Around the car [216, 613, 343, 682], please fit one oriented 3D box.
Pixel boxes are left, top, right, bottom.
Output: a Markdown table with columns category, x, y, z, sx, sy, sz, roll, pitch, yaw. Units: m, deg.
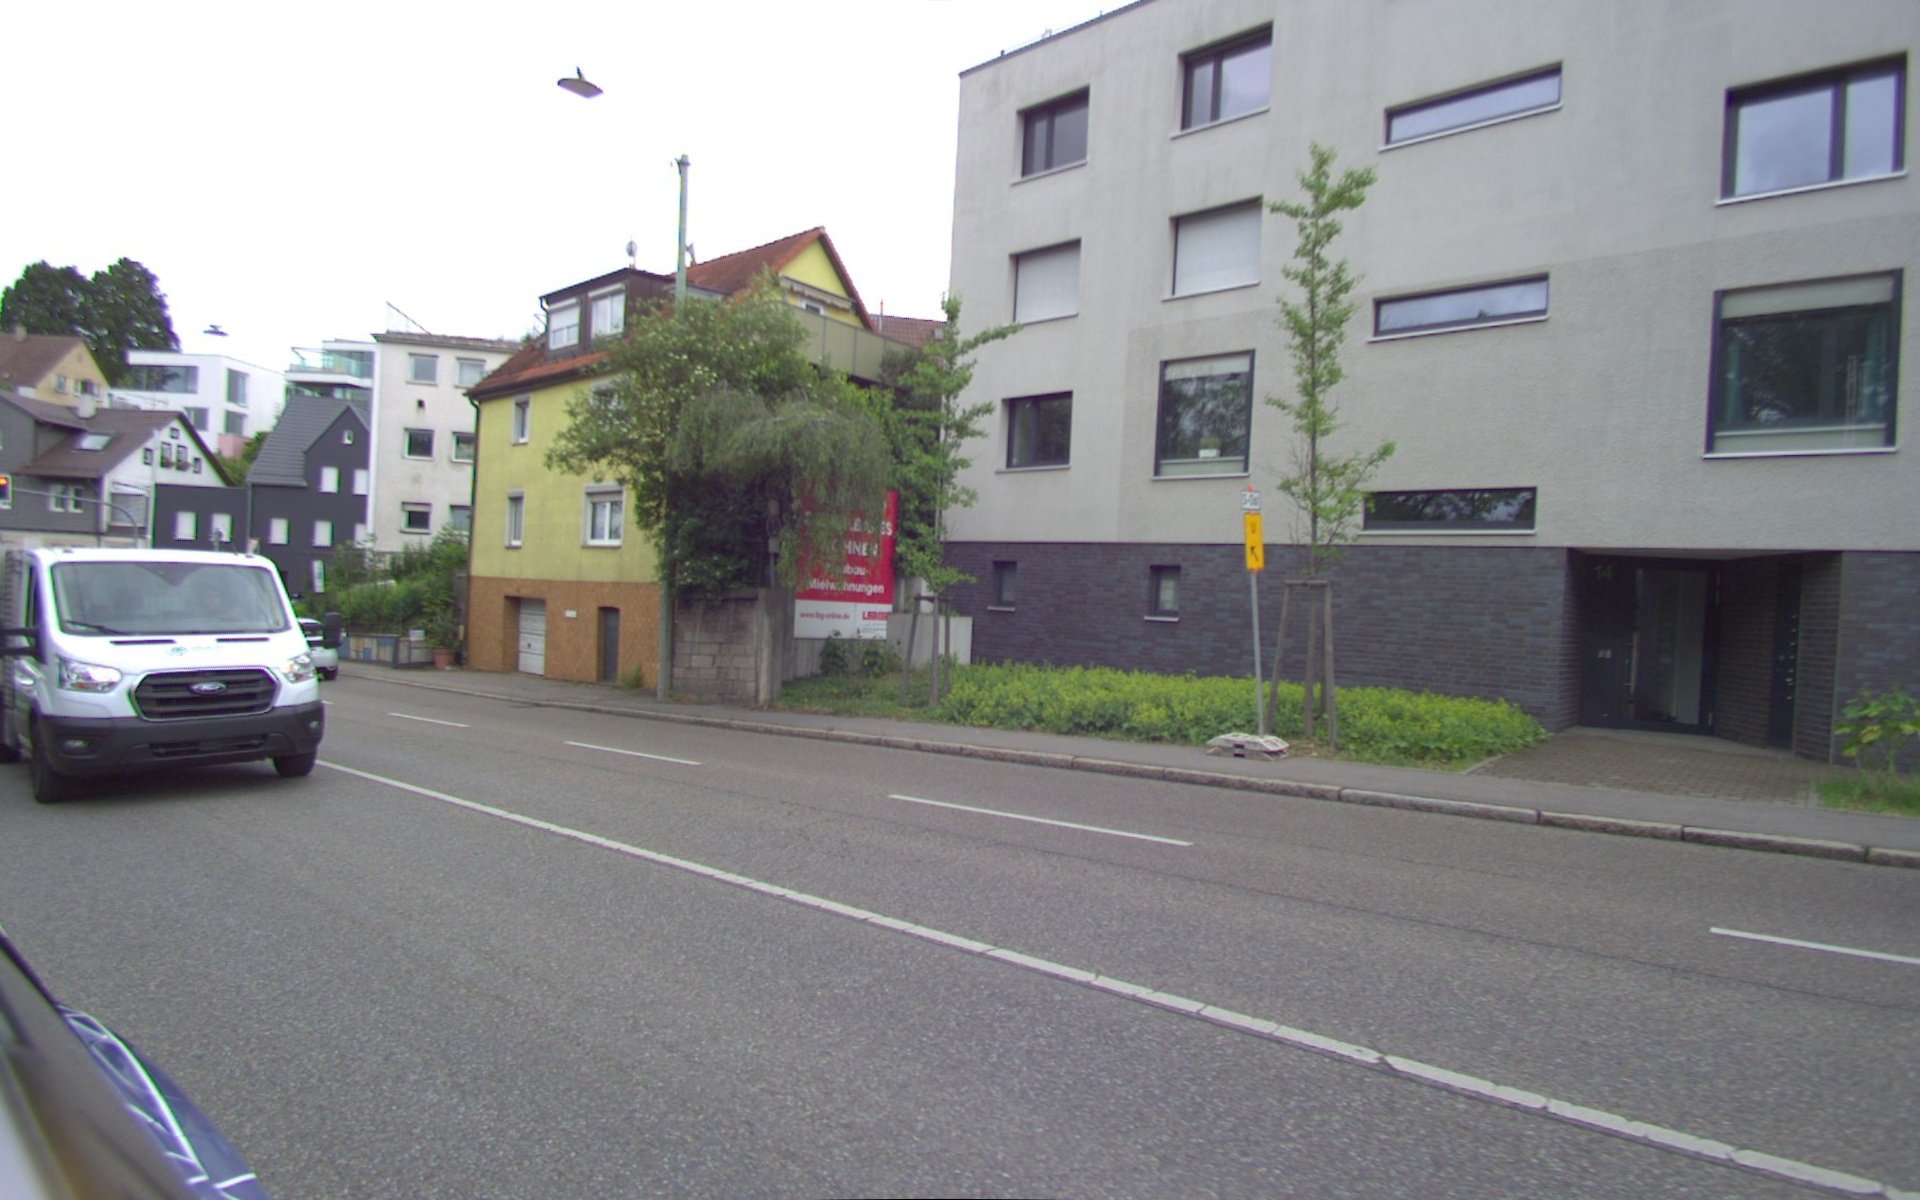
| category | x | y | z | sx | sy | sz | roll | pitch | yaw |
| --- | --- | --- | --- | --- | --- | --- | --- | --- | --- |
| car | -17.480 | 1.223 | 25.950 | 4.055 | 1.626 | 1.725 | -2 | -4 | 42 |

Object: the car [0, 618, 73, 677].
| category | x | y | z | sx | sy | sz | roll | pitch | yaw |
| --- | --- | --- | --- | --- | --- | --- | --- | --- | --- |
| car | -29.711 | 1.443 | 31.953 | 4.342 | 1.708 | 1.877 | -1 | 0 | 39 |

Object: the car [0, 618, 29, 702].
| category | x | y | z | sx | sy | sz | roll | pitch | yaw |
| --- | --- | --- | --- | --- | --- | --- | --- | --- | --- |
| car | -19.937 | 1.157 | 19.797 | 4.395 | 1.492 | 1.892 | 0 | 2 | 39 |

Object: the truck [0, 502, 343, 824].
| category | x | y | z | sx | sy | sz | roll | pitch | yaw |
| --- | --- | --- | --- | --- | --- | --- | --- | --- | --- |
| truck | -8.496 | 0.513 | 10.219 | 6.328 | 2.339 | 2.054 | -1 | -1 | 41 |
